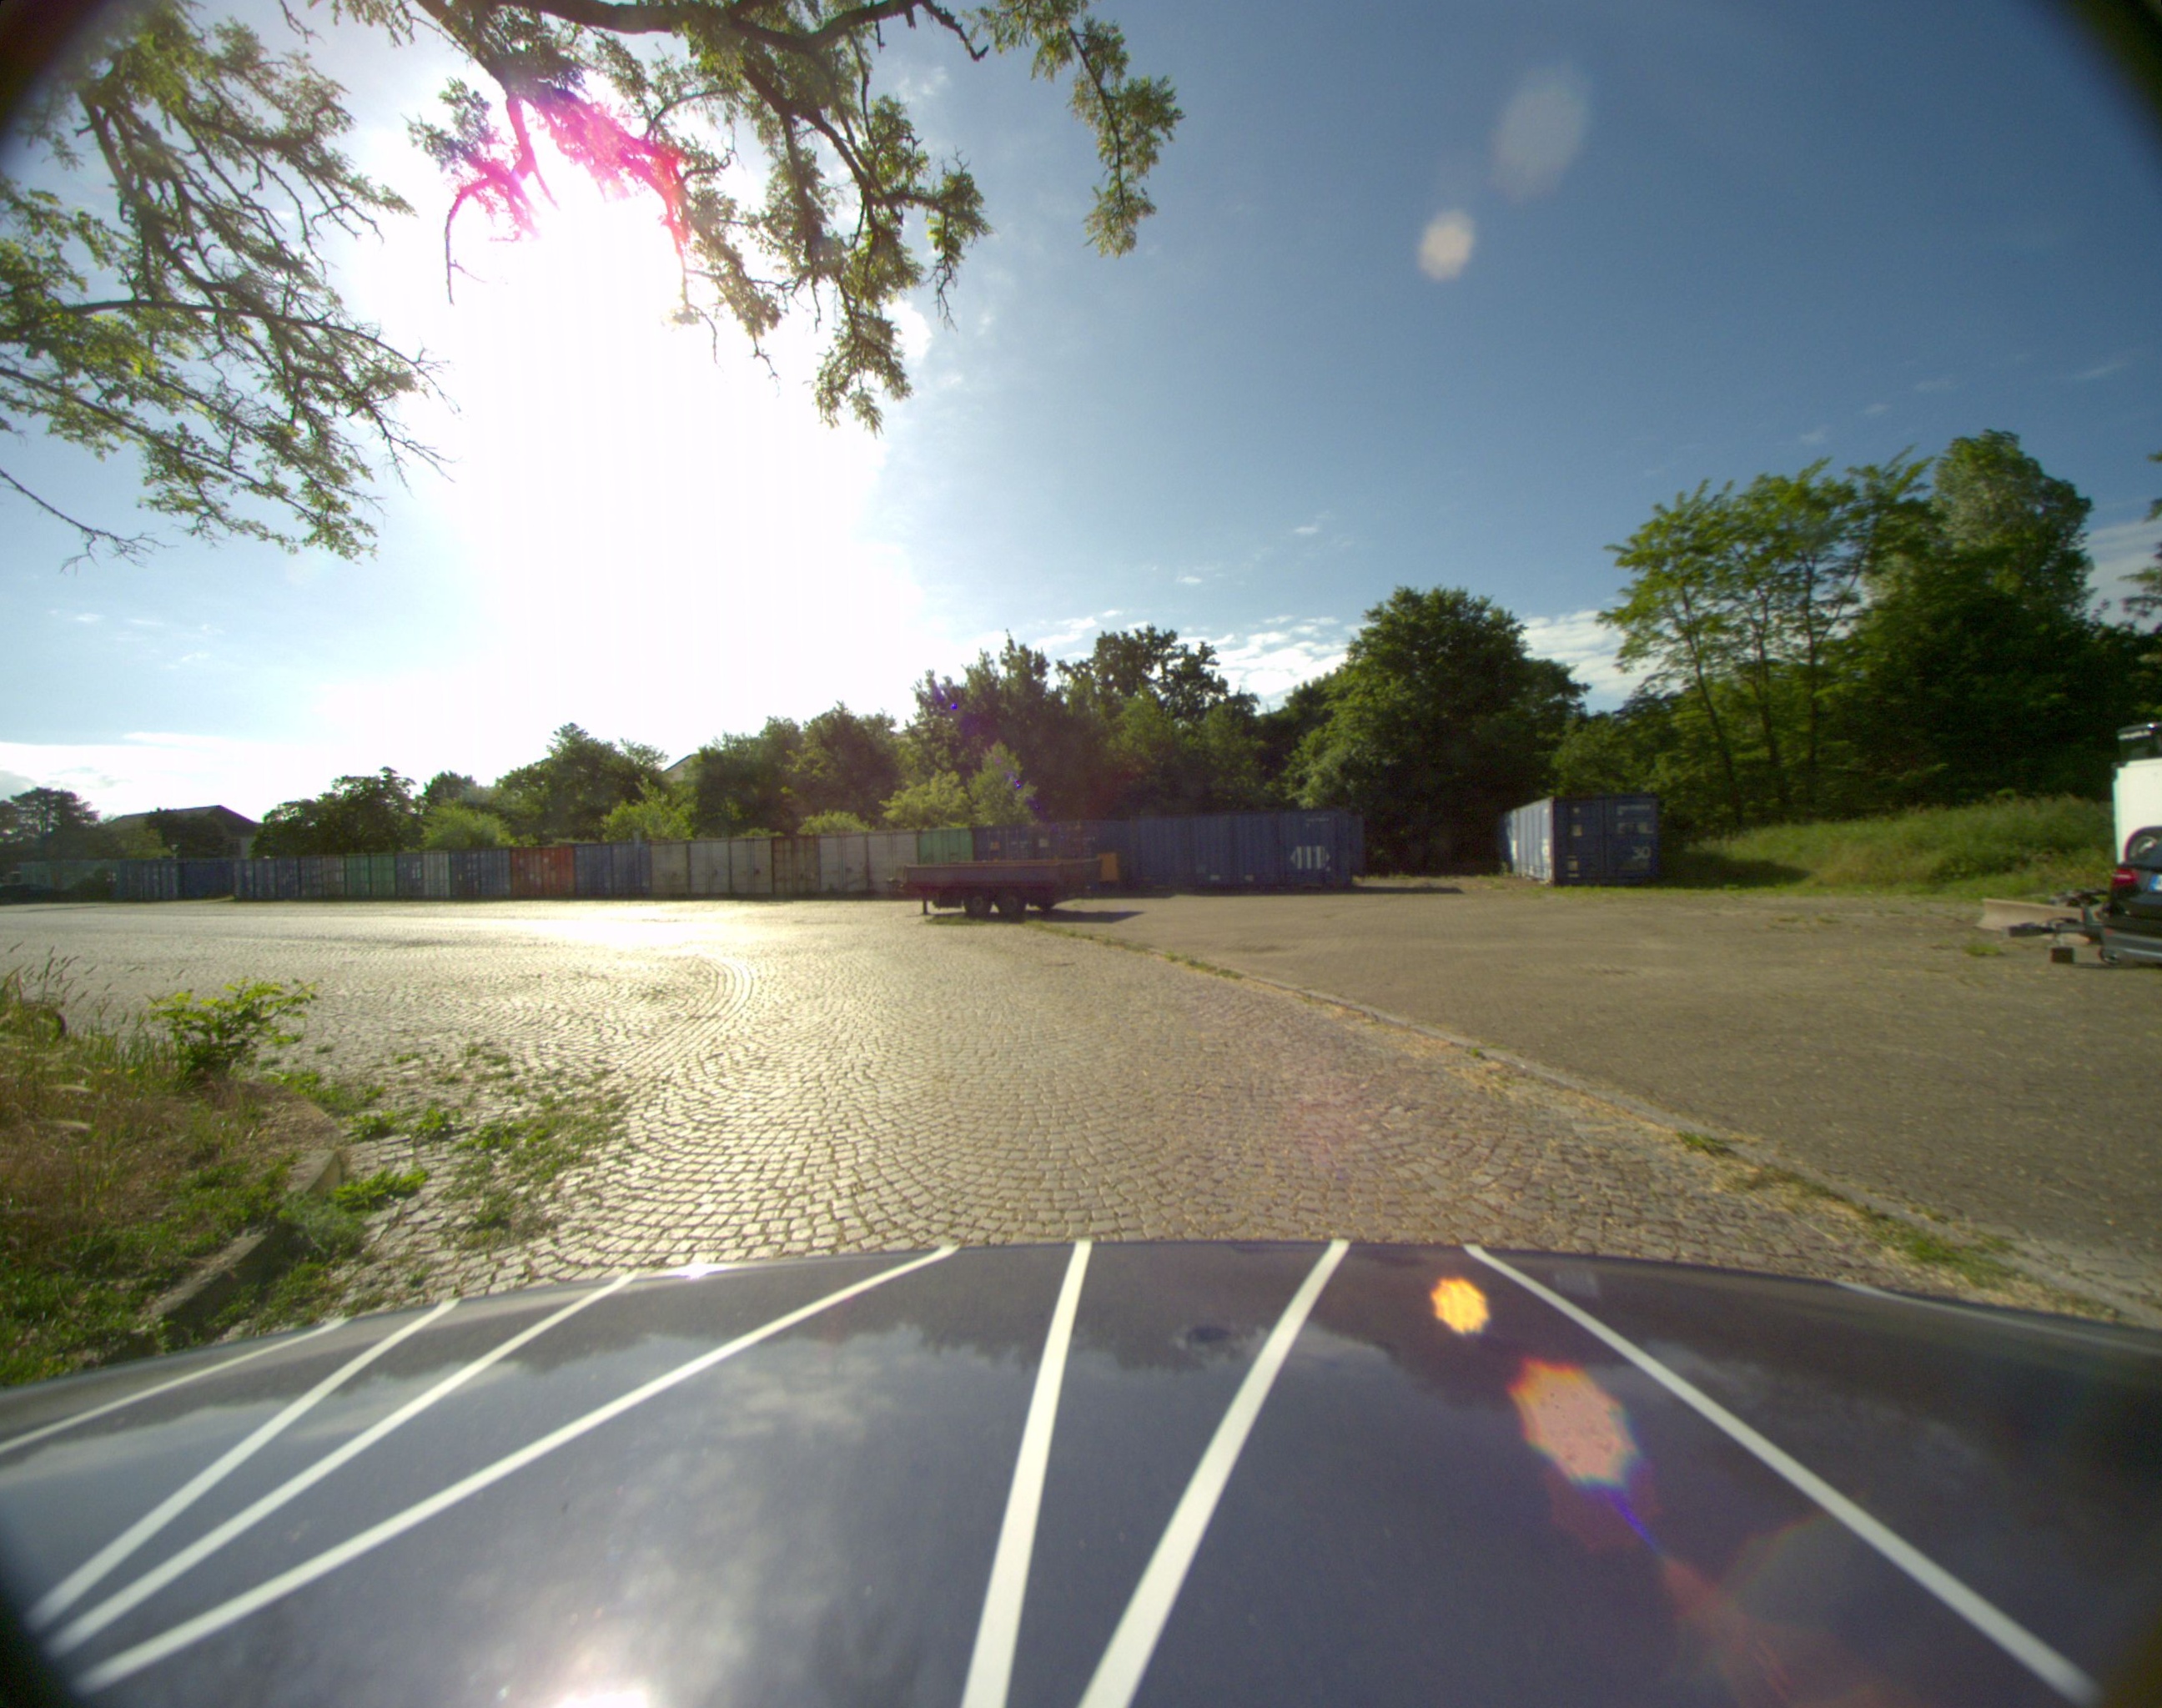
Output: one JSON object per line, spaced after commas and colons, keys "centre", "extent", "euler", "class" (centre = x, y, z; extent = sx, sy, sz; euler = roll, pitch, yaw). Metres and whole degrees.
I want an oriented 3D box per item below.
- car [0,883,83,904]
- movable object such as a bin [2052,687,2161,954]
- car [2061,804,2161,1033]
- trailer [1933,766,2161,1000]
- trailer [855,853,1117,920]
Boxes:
{"centre": [-74.803, 2.816, 54.286], "extent": [1.587, 1.259, 3.882], "euler": [-1, 1, 21], "class": "car"}
{"centre": [14.618, -0.429, 7.926], "extent": [5.151, 2.948, 2.004], "euler": [-1, 0, 28], "class": "movable object such as a bin"}
{"centre": [9.412, 0.404, 4.600], "extent": [3.811, 1.631, 1.871], "euler": [-2, 0, 26], "class": "car"}
{"centre": [11.099, 0.193, 6.991], "extent": [3.964, 2.081, 1.642], "euler": [-3, 0, 24], "class": "trailer"}
{"centre": [-2.584, 0.888, 20.761], "extent": [6.477, 1.509, 2.859], "euler": [-2, 1, 23], "class": "trailer"}
